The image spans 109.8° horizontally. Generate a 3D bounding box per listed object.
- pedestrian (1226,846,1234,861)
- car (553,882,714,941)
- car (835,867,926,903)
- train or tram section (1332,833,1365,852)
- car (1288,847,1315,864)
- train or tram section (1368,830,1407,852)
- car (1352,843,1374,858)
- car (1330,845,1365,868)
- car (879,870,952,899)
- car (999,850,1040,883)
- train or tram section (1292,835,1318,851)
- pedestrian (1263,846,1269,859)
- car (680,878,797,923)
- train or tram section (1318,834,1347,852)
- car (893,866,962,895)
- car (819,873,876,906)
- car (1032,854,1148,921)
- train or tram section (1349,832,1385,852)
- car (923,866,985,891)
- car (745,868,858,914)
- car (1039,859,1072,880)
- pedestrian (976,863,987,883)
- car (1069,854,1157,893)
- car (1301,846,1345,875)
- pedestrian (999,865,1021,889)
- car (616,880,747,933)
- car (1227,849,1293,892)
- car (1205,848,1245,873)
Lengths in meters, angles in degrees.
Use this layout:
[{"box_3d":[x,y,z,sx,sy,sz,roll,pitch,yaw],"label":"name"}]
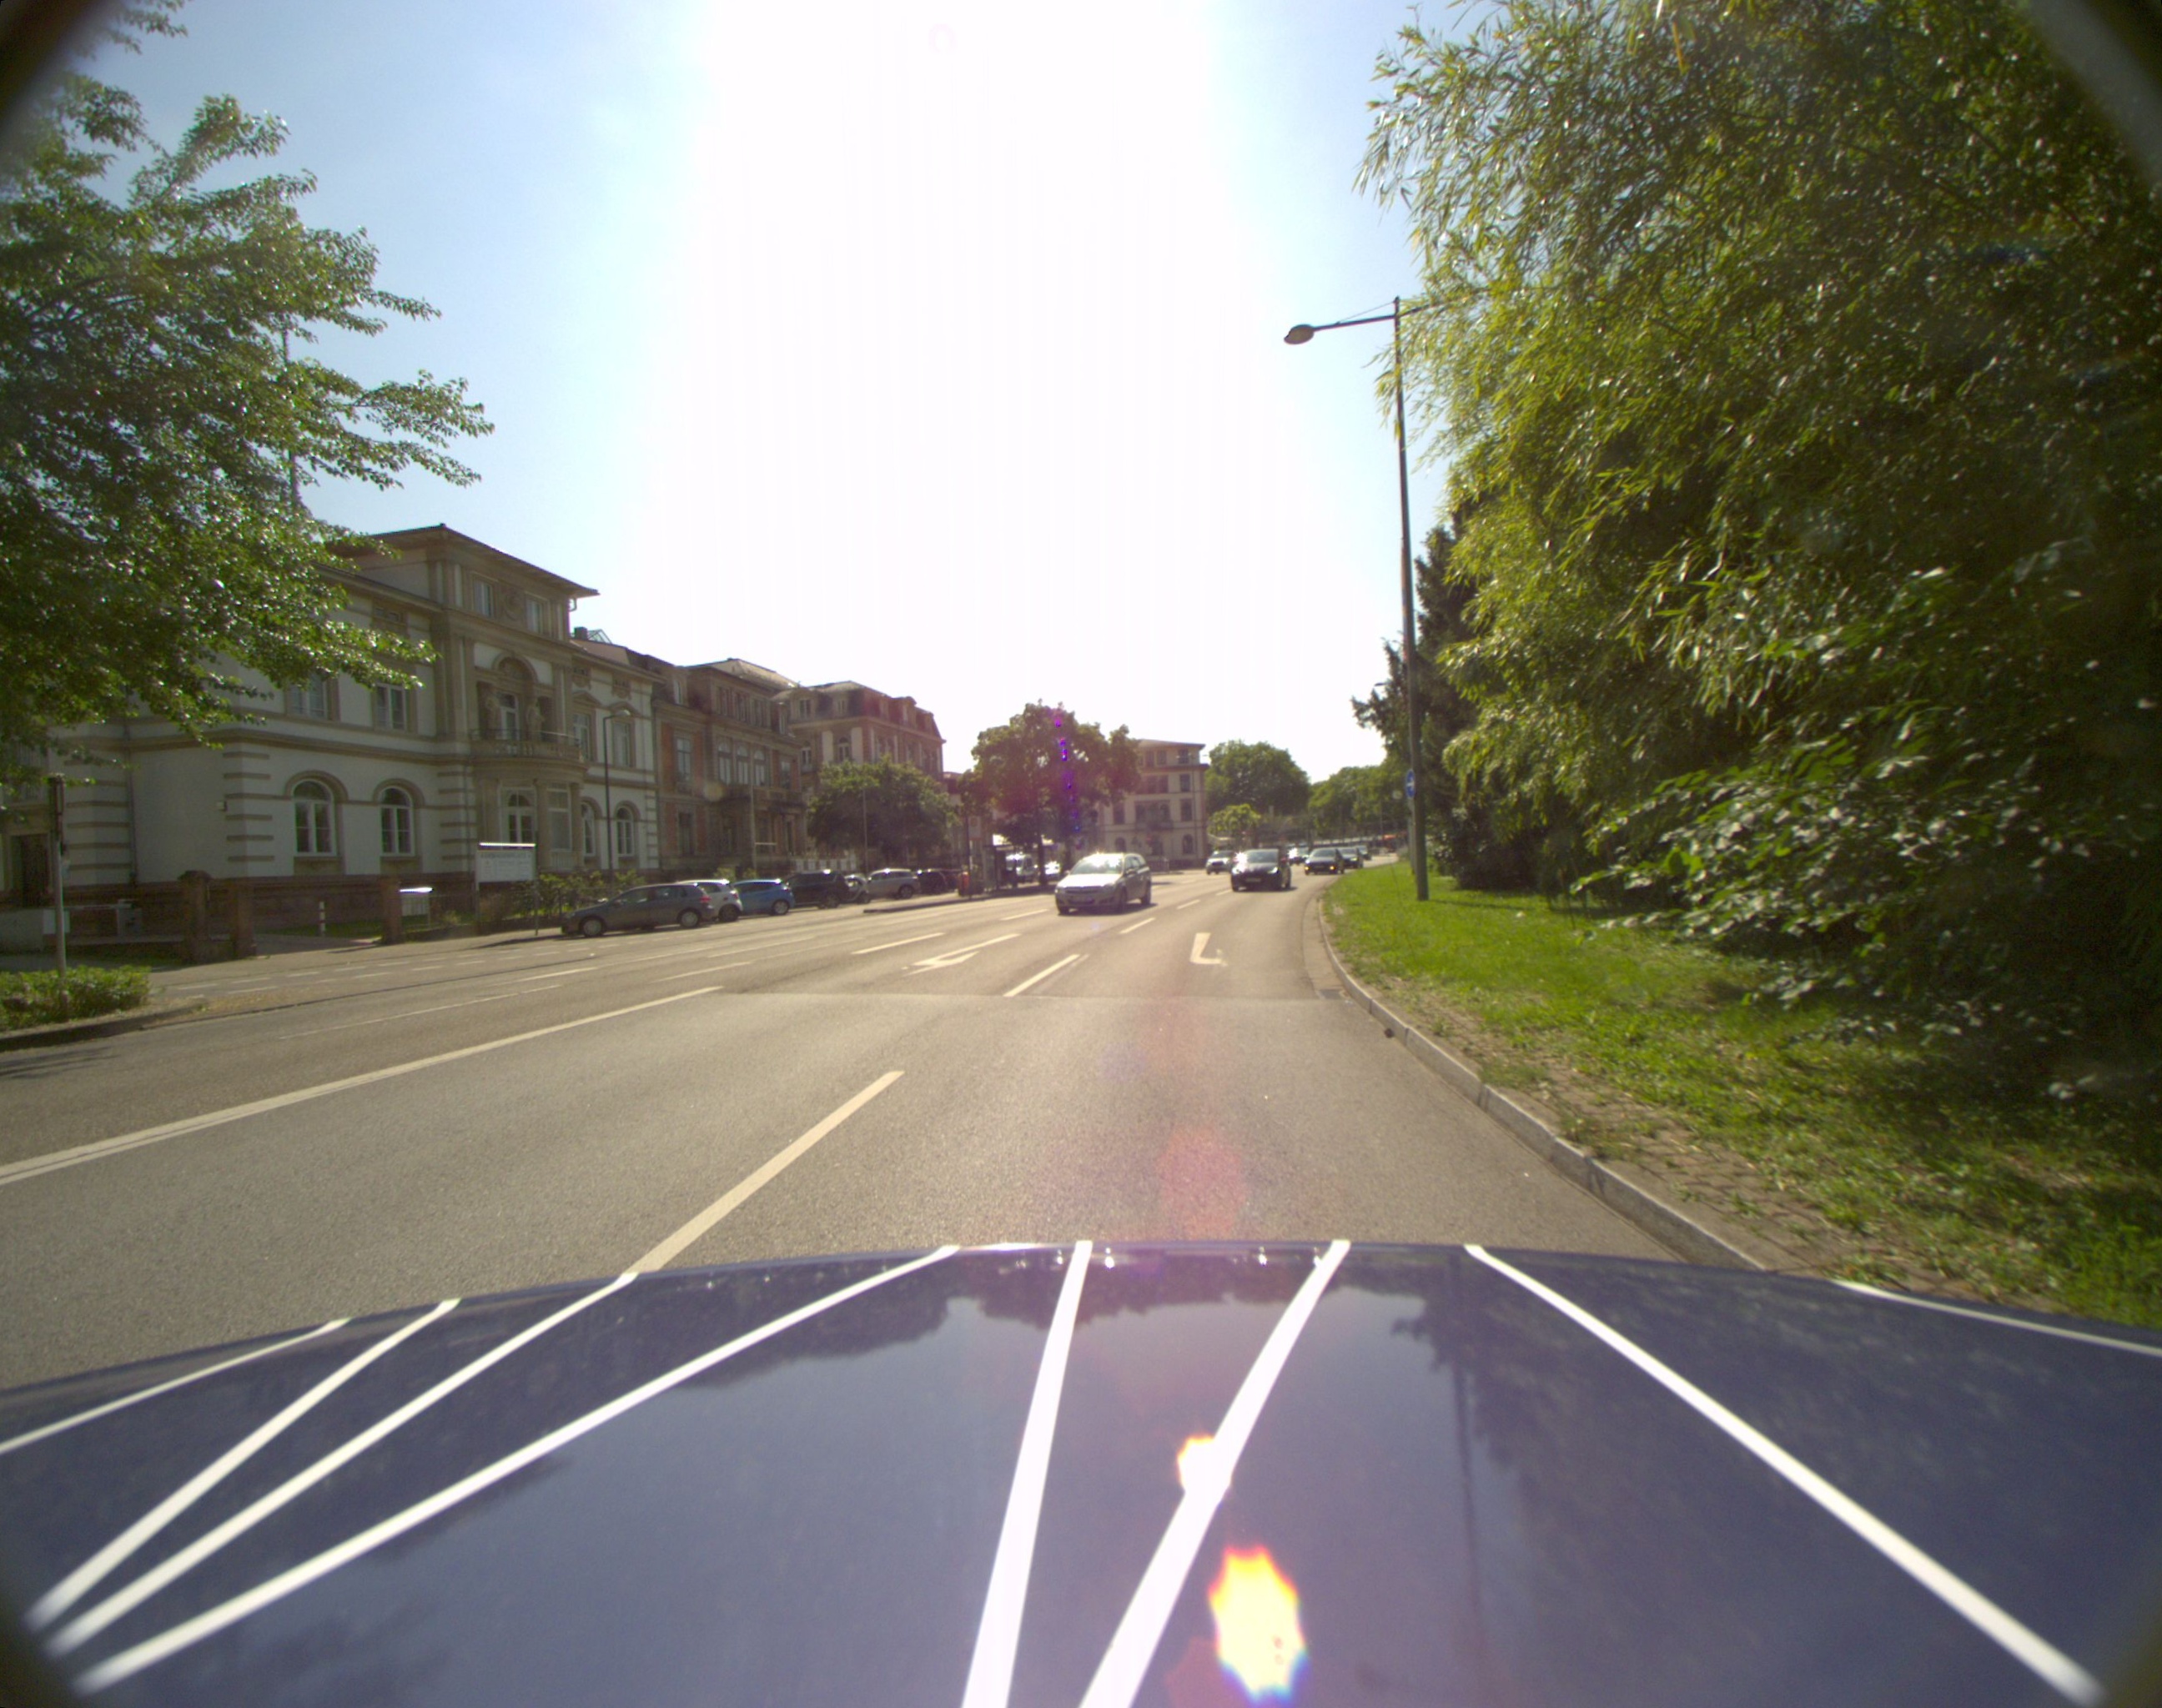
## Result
[{"box_3d":[18.242,-0.102,93.045,0.725,1.794,0.653,-3,0,6],"label":"pedestrian"},{"box_3d":[-13.760,1.725,23.646,4.113,1.453,1.824,-3,0,-28],"label":"car"},{"box_3d":[-10.709,1.614,40.621,4.322,1.620,1.710,-3,0,-32],"label":"car"},{"box_3d":[50.706,-2.180,144.308,2.733,3.248,8.736,-3,0,-1],"label":"train or tram section"},{"box_3d":[20.090,0.096,69.191,1.788,1.452,4.095,-1,0,25],"label":"car"},{"box_3d":[51.099,-2.068,126.860,2.733,3.248,8.736,-3,0,-1],"label":"train or tram section"},{"box_3d":[28.711,-0.413,77.328,1.788,1.452,4.095,-1,0,25],"label":"car"},{"box_3d":[18.166,0.129,51.698,1.788,1.461,4.095,-1,0,25],"label":"car"},{"box_3d":[-9.677,1.748,44.408,3.825,1.409,1.602,-3,0,-28],"label":"car"},{"box_3d":[-5.067,0.989,62.995,1.997,2.588,5.322,-3,0,10],"label":"car"},{"box_3d":[50.237,-2.354,170.586,2.733,3.248,8.736,-3,0,-1],"label":"train or tram section"},{"box_3d":[24.252,-0.220,99.452,0.535,1.639,0.674,-3,0,3],"label":"pedestrian"},{"box_3d":[-13.182,1.754,29.309,3.817,1.433,1.710,-3,0,-34],"label":"car"},{"box_3d":[50.540,-2.237,153.051,2.733,3.248,8.736,-3,0,-1],"label":"train or tram section"},{"box_3d":[-9.657,1.638,47.909,3.882,1.566,1.746,-3,0,-28],"label":"car"},{"box_3d":[-11.375,1.715,37.082,2.292,1.474,1.198,-3,0,-37],"label":"car"},{"box_3d":[0.380,0.784,19.496,1.717,1.491,4.496,-2,0,17],"label":"car"},{"box_3d":[50.898,-2.123,135.564,2.733,3.248,8.736,-3,0,-1],"label":"train or tram section"},{"box_3d":[-8.578,1.645,51.189,3.705,1.410,1.746,-3,0,-28],"label":"car"},{"box_3d":[-12.184,1.592,33.204,4.281,1.686,1.710,-3,0,-34],"label":"car"},{"box_3d":[-2.149,1.280,64.944,1.820,1.616,4.883,-3,0,9],"label":"car"},{"box_3d":[-8.959,1.736,68.337,0.701,1.741,0.722,-3,0,8],"label":"pedestrian"},{"box_3d":[1.441,0.761,31.773,1.995,1.429,4.759,-2,0,24],"label":"car"},{"box_3d":[13.609,0.328,42.644,1.788,1.484,4.095,-1,0,25],"label":"car"},{"box_3d":[-3.677,1.189,39.231,1.021,1.190,0.792,-3,0,-2],"label":"pedestrian"},{"box_3d":[-13.763,1.754,26.251,3.817,1.502,1.710,-3,0,-31],"label":"car"},{"box_3d":[6.719,0.571,28.184,1.788,1.443,4.287,-1,0,21],"label":"car"},{"box_3d":[9.646,0.420,50.627,1.788,1.503,4.287,-1,0,22],"label":"car"}]
